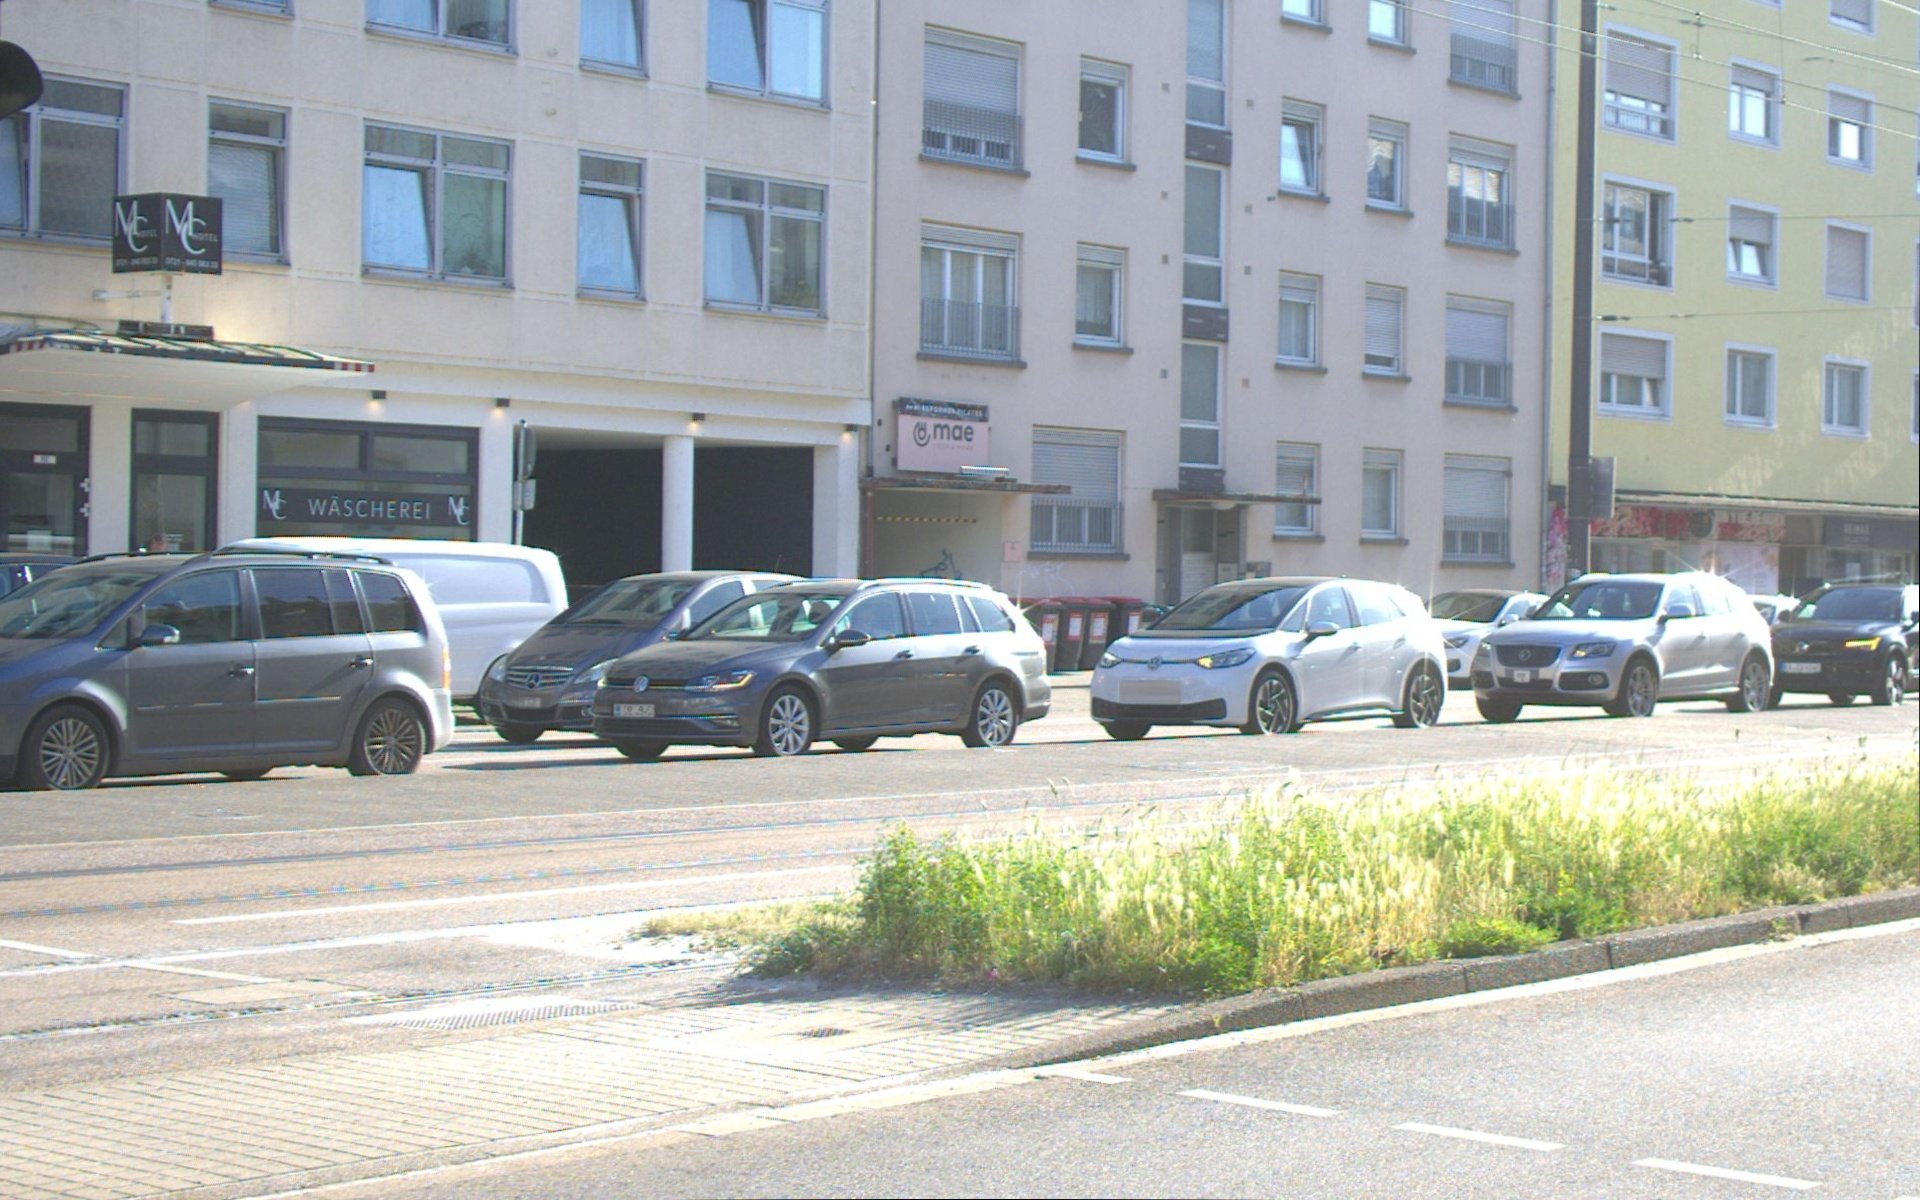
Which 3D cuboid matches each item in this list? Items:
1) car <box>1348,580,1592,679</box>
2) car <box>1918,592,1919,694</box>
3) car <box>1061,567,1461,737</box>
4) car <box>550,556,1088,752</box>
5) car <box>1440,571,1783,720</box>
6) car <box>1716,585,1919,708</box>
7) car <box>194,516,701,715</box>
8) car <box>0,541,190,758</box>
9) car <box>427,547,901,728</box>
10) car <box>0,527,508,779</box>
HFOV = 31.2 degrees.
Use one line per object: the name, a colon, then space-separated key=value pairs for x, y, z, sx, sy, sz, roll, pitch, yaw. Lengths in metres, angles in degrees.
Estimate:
car: x=7.774 y=0.456 z=52.197 sx=1.780 sy=1.430 sz=4.046 roll=1 pitch=0 yaw=40
car: x=15.577 y=0.667 z=50.058 sx=1.826 sy=1.441 sz=4.276 roll=1 pitch=-1 yaw=35
car: x=2.970 y=0.504 z=33.207 sx=1.842 sy=1.510 sz=4.234 roll=1 pitch=-1 yaw=37
car: x=-1.084 y=0.448 z=28.533 sx=1.822 sy=1.486 sz=4.530 roll=1 pitch=-1 yaw=41
car: x=7.381 y=0.488 z=38.650 sx=1.869 sy=1.572 sz=4.620 roll=-1 pitch=-1 yaw=38
car: x=11.709 y=0.611 z=44.561 sx=1.967 sy=1.475 sz=4.559 roll=1 pitch=-1 yaw=37
car: x=-5.332 y=0.158 z=36.482 sx=1.947 sy=1.862 sz=5.314 roll=5 pitch=3 yaw=39
car: x=-7.849 y=0.343 z=25.246 sx=1.793 sy=1.570 sz=4.037 roll=1 pitch=-1 yaw=38
car: x=-2.696 y=0.359 z=32.160 sx=1.987 sy=1.570 sz=4.313 roll=1 pitch=-1 yaw=38
car: x=-5.378 y=0.353 z=23.097 sx=1.935 sy=1.543 sz=4.442 roll=1 pitch=-1 yaw=41
